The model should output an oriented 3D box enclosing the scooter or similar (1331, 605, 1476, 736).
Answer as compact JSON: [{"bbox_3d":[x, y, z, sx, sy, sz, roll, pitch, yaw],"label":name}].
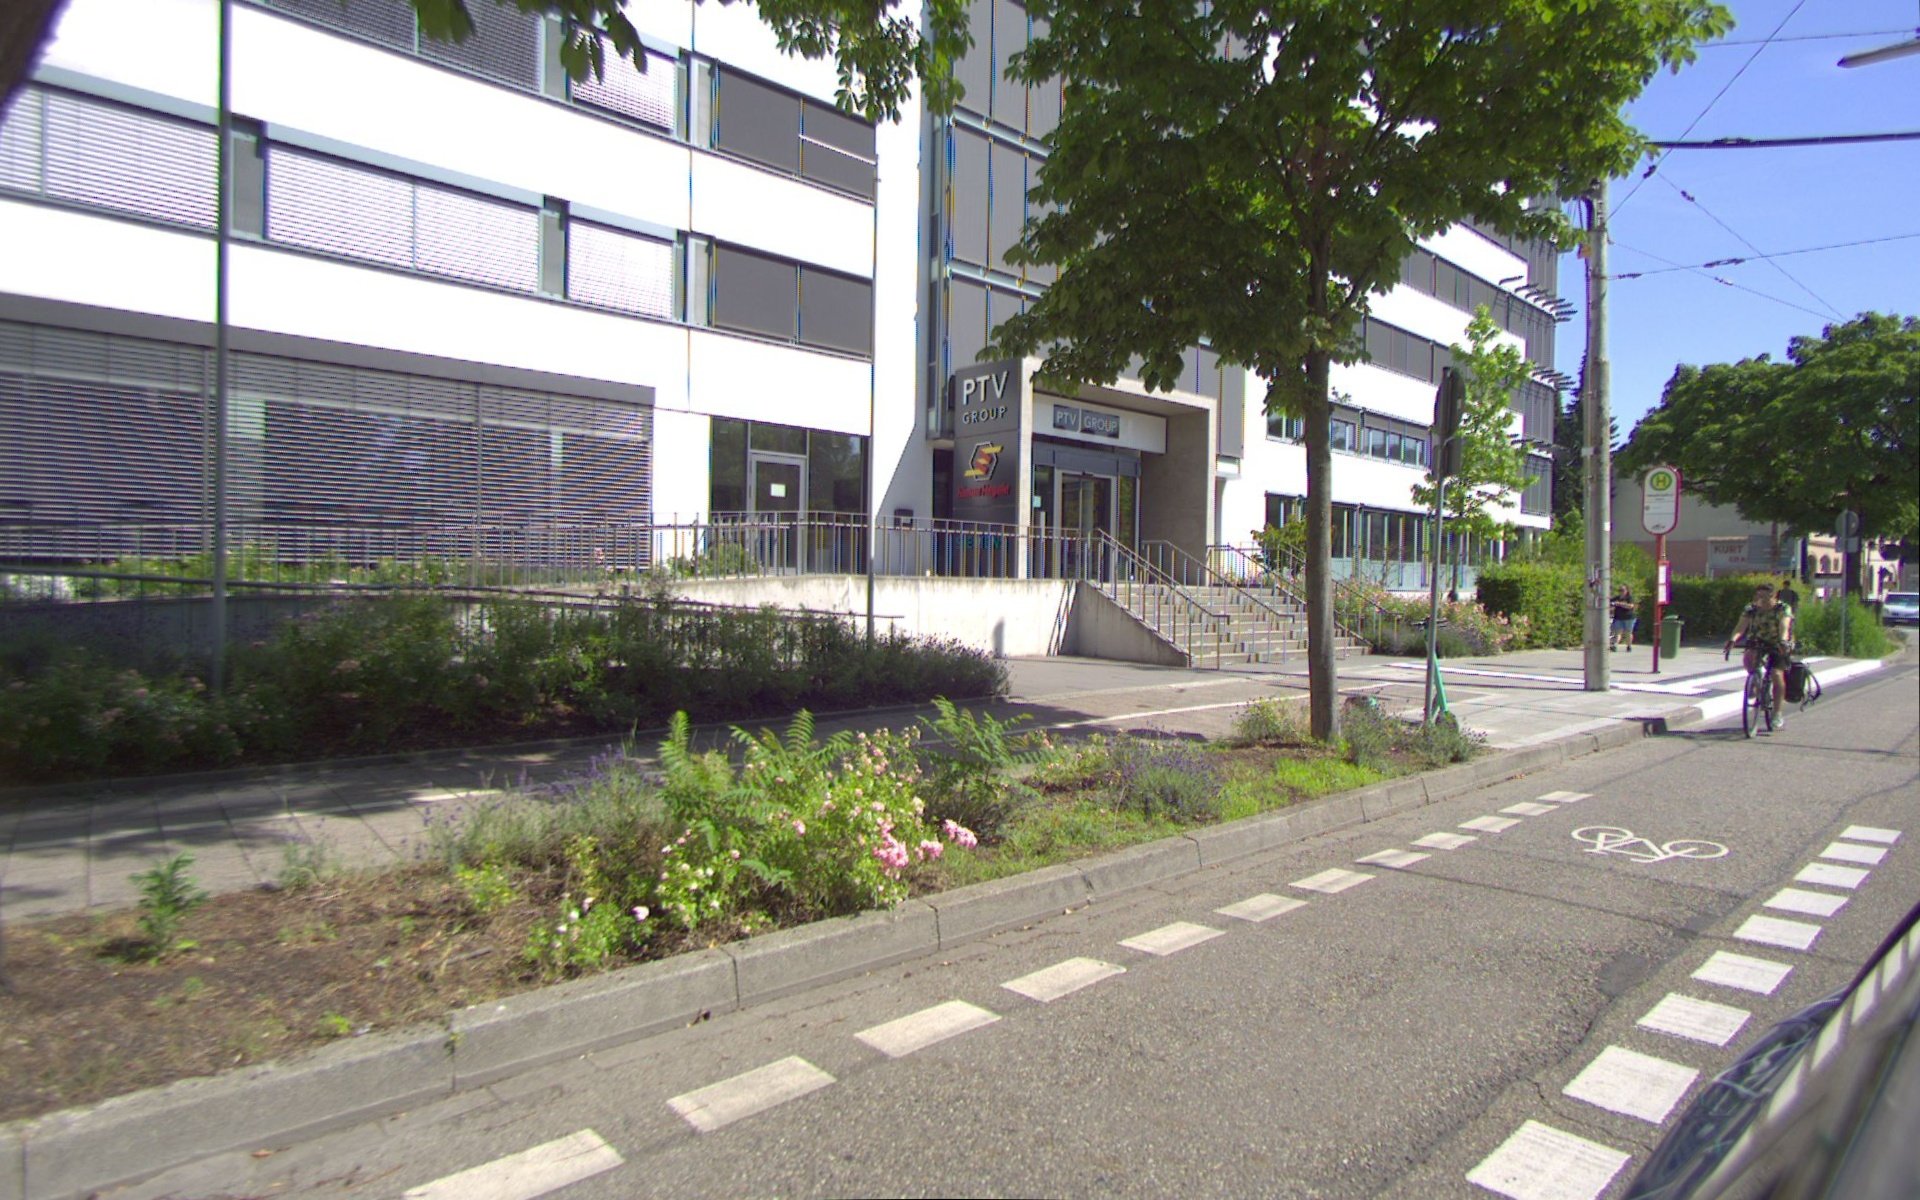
[{"bbox_3d":[4.395,0.661,10.066,0.663,1.181,1.129,0,1,-38],"label":"scooter or similar"}]

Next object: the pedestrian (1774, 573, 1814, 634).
[{"bbox_3d":[25.595,0.090,31.055,0.889,1.840,1.057,1,1,43],"label":"pedestrian"}]

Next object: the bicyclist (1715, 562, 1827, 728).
[{"bbox_3d":[9.001,0.465,11.234,0.969,1.745,0.718,0,1,-36],"label":"bicyclist"}]

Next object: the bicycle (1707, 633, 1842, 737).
[{"bbox_3d":[9.095,0.903,11.272,2.123,0.996,0.610,0,1,-35],"label":"bicycle"}]

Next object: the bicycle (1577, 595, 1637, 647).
[{"bbox_3d":[14.984,0.461,23.413,2.031,1.131,0.637,0,1,-42],"label":"bicycle"}]

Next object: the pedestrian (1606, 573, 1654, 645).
[{"bbox_3d":[15.276,0.195,23.066,0.686,1.582,0.972,4,3,45],"label":"pedestrian"}]

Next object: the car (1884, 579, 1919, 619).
[{"bbox_3d":[51.819,-0.059,54.647,4.820,2.038,2.089,0,2,-39],"label":"car"}]
